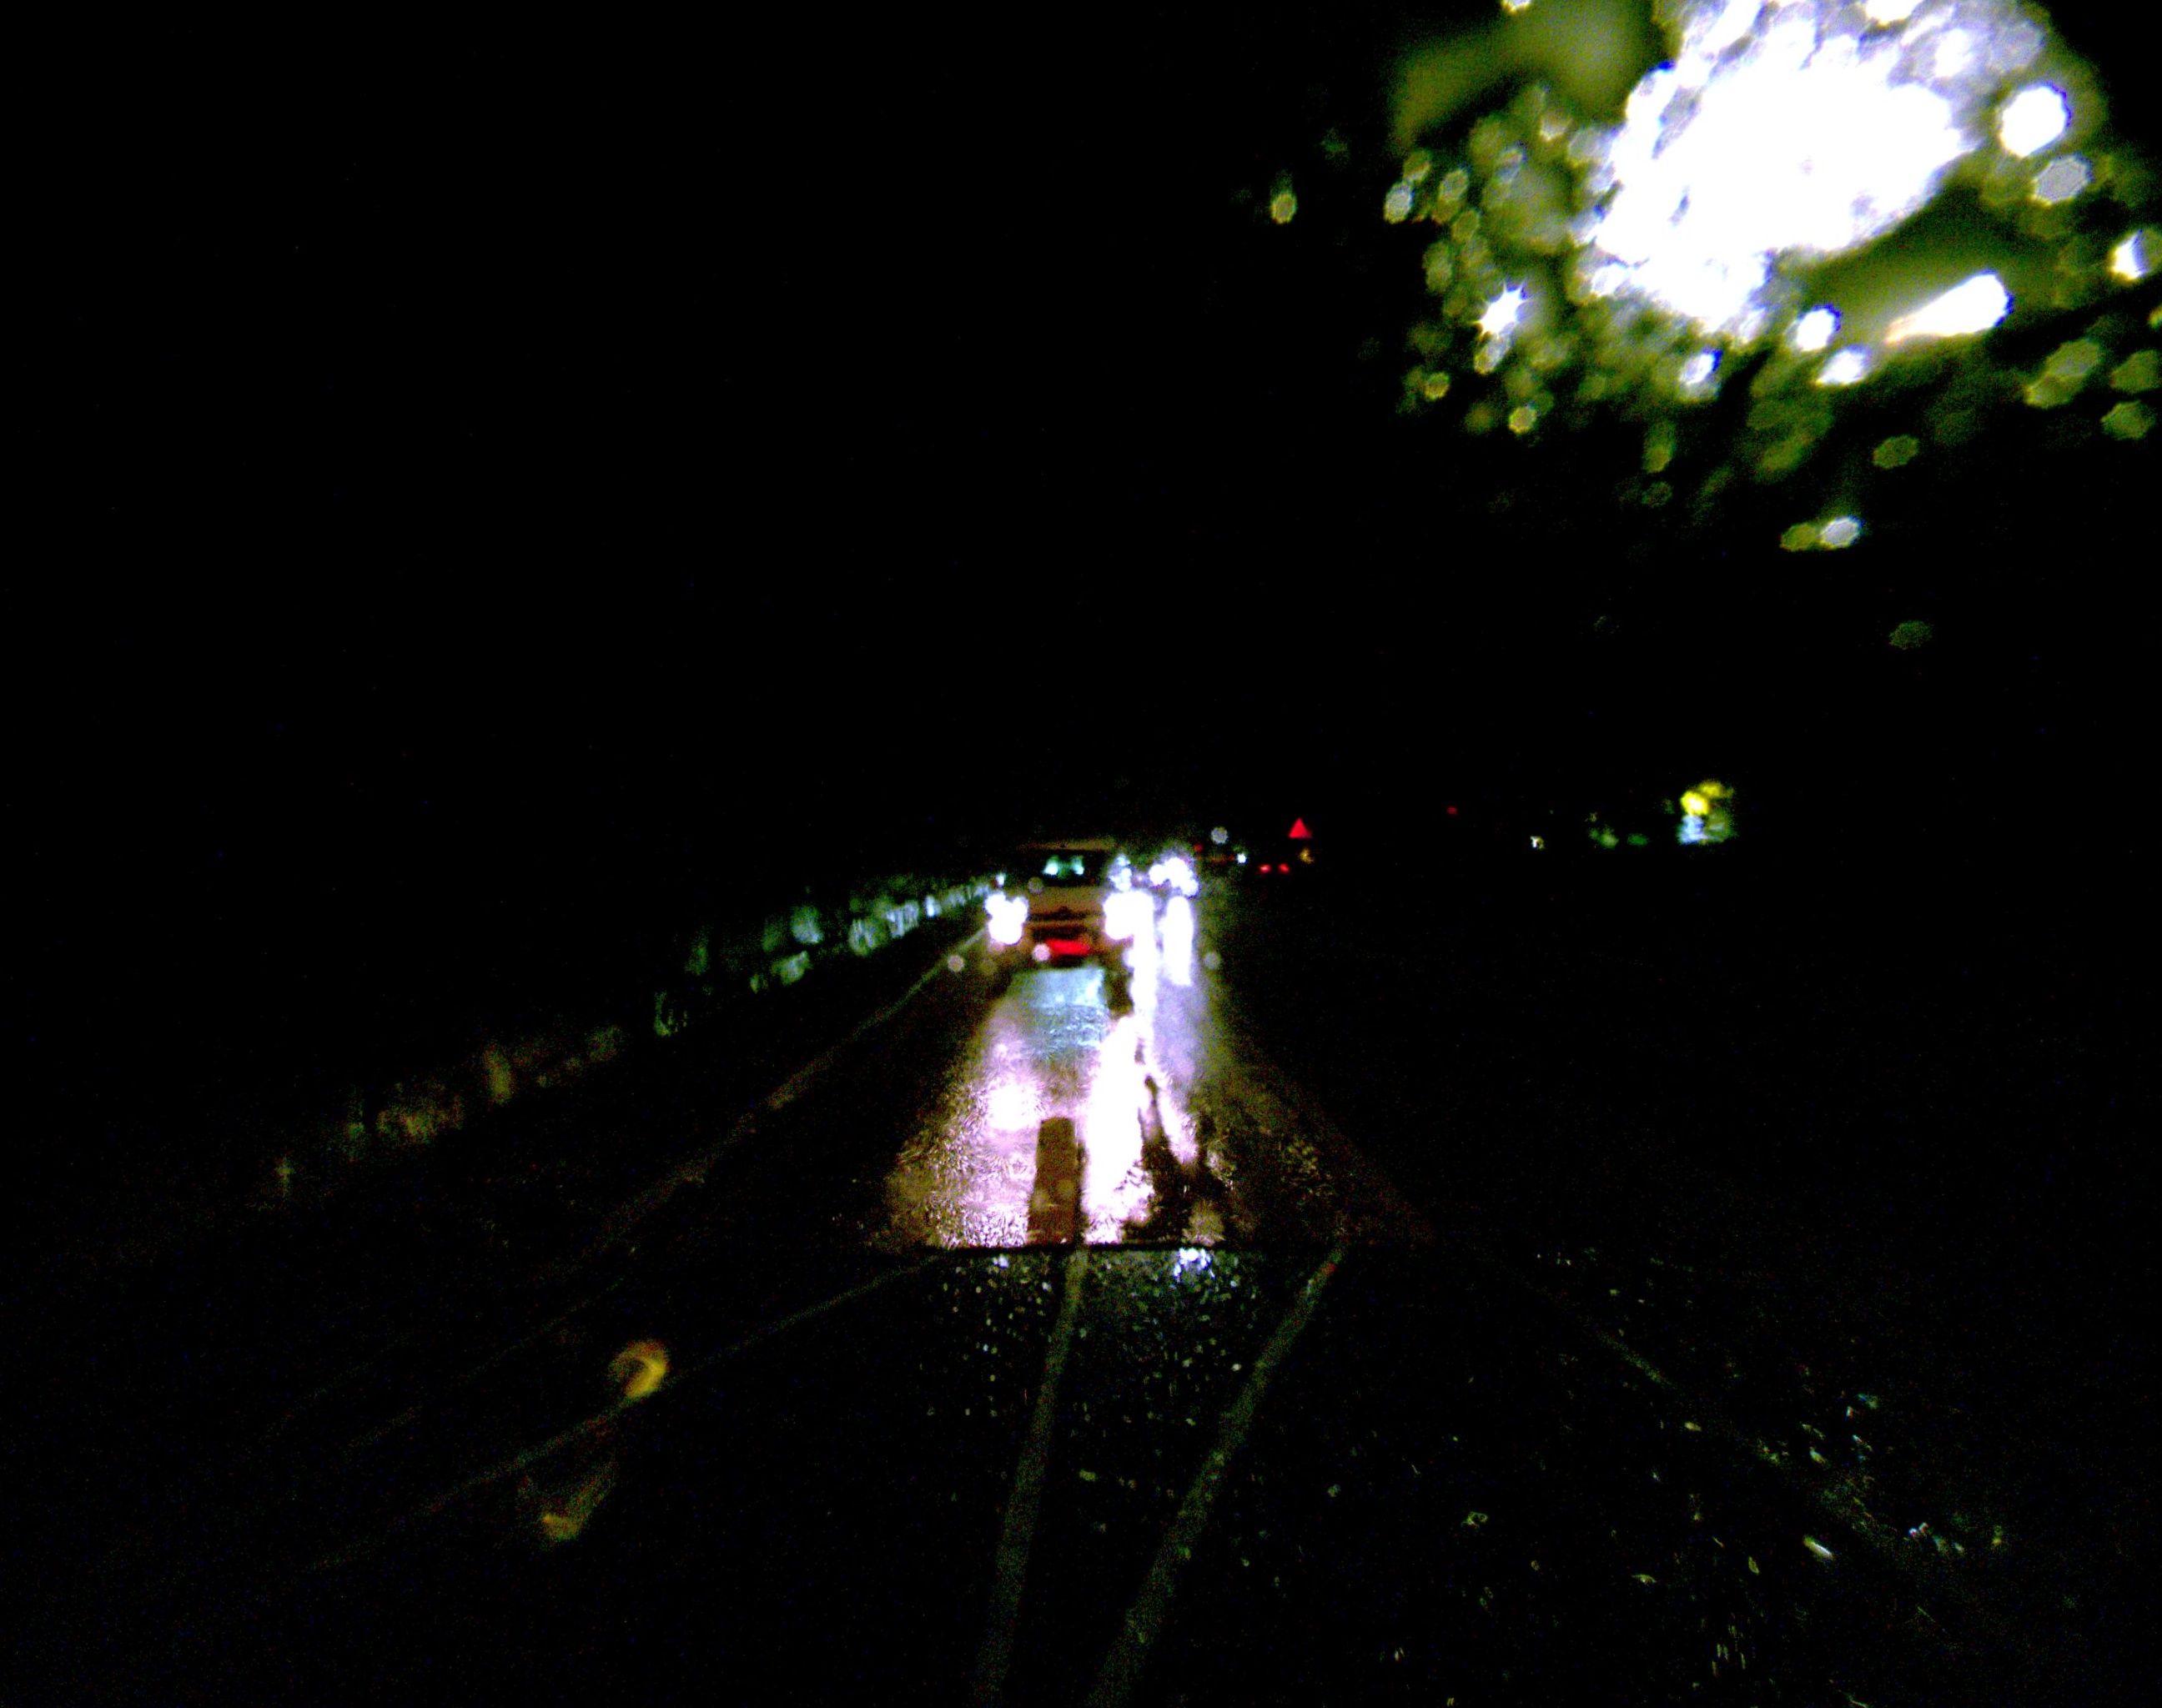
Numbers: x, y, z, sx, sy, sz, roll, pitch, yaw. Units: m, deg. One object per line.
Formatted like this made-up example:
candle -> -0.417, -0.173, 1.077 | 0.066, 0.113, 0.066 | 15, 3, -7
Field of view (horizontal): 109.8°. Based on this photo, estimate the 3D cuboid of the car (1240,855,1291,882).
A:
car -> 11.982, 0.917, 49.611 | 1.751, 1.495, 4.889 | -2, 1, -5

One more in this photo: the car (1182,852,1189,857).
car -> 32.971, 0.054, 239.479 | 1.806, 1.416, 4.208 | -1, 1, 12

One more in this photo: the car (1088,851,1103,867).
car -> 1.963, 0.646, 101.180 | 1.998, 2.002, 3.999 | -1, 1, 2

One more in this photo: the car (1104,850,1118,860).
car -> 4.983, 0.164, 126.636 | 1.997, 1.456, 4.001 | -1, 1, 8

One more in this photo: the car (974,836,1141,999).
car -> -0.143, 0.721, 10.765 | 1.877, 1.825, 4.206 | -1, 0, 3

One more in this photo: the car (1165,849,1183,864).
car -> 11.167, 0.261, 91.424 | 1.711, 1.644, 4.506 | -1, 1, 1

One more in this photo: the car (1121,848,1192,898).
car -> 2.774, 0.659, 29.015 | 1.915, 1.694, 4.937 | -1, 0, -3
